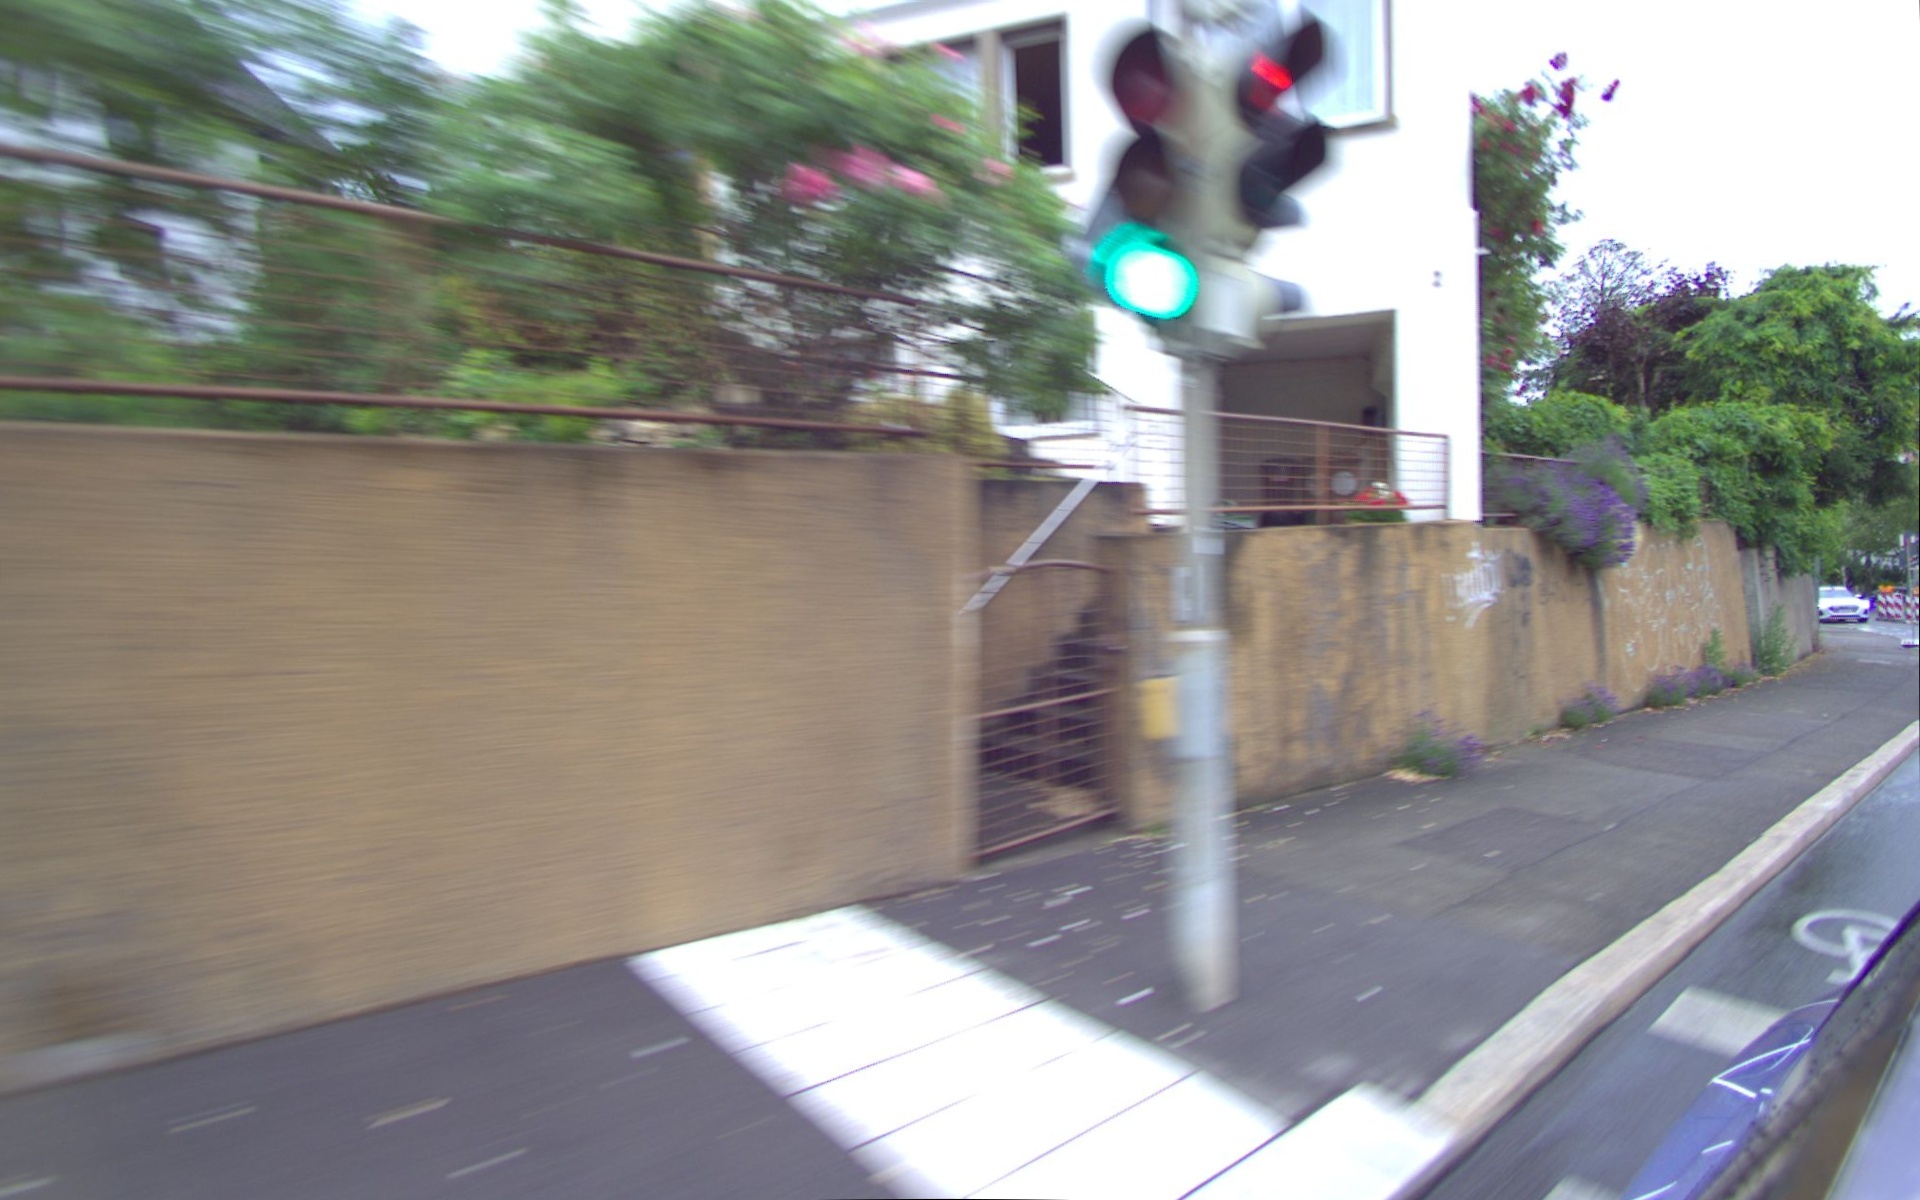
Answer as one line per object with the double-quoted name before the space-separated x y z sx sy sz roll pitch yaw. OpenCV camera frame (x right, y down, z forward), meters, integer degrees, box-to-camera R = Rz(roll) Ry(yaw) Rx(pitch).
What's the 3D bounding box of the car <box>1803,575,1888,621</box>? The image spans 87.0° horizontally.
"car" 39.870 -0.132 45.693 2.003 1.760 4.549 -5 0 32
